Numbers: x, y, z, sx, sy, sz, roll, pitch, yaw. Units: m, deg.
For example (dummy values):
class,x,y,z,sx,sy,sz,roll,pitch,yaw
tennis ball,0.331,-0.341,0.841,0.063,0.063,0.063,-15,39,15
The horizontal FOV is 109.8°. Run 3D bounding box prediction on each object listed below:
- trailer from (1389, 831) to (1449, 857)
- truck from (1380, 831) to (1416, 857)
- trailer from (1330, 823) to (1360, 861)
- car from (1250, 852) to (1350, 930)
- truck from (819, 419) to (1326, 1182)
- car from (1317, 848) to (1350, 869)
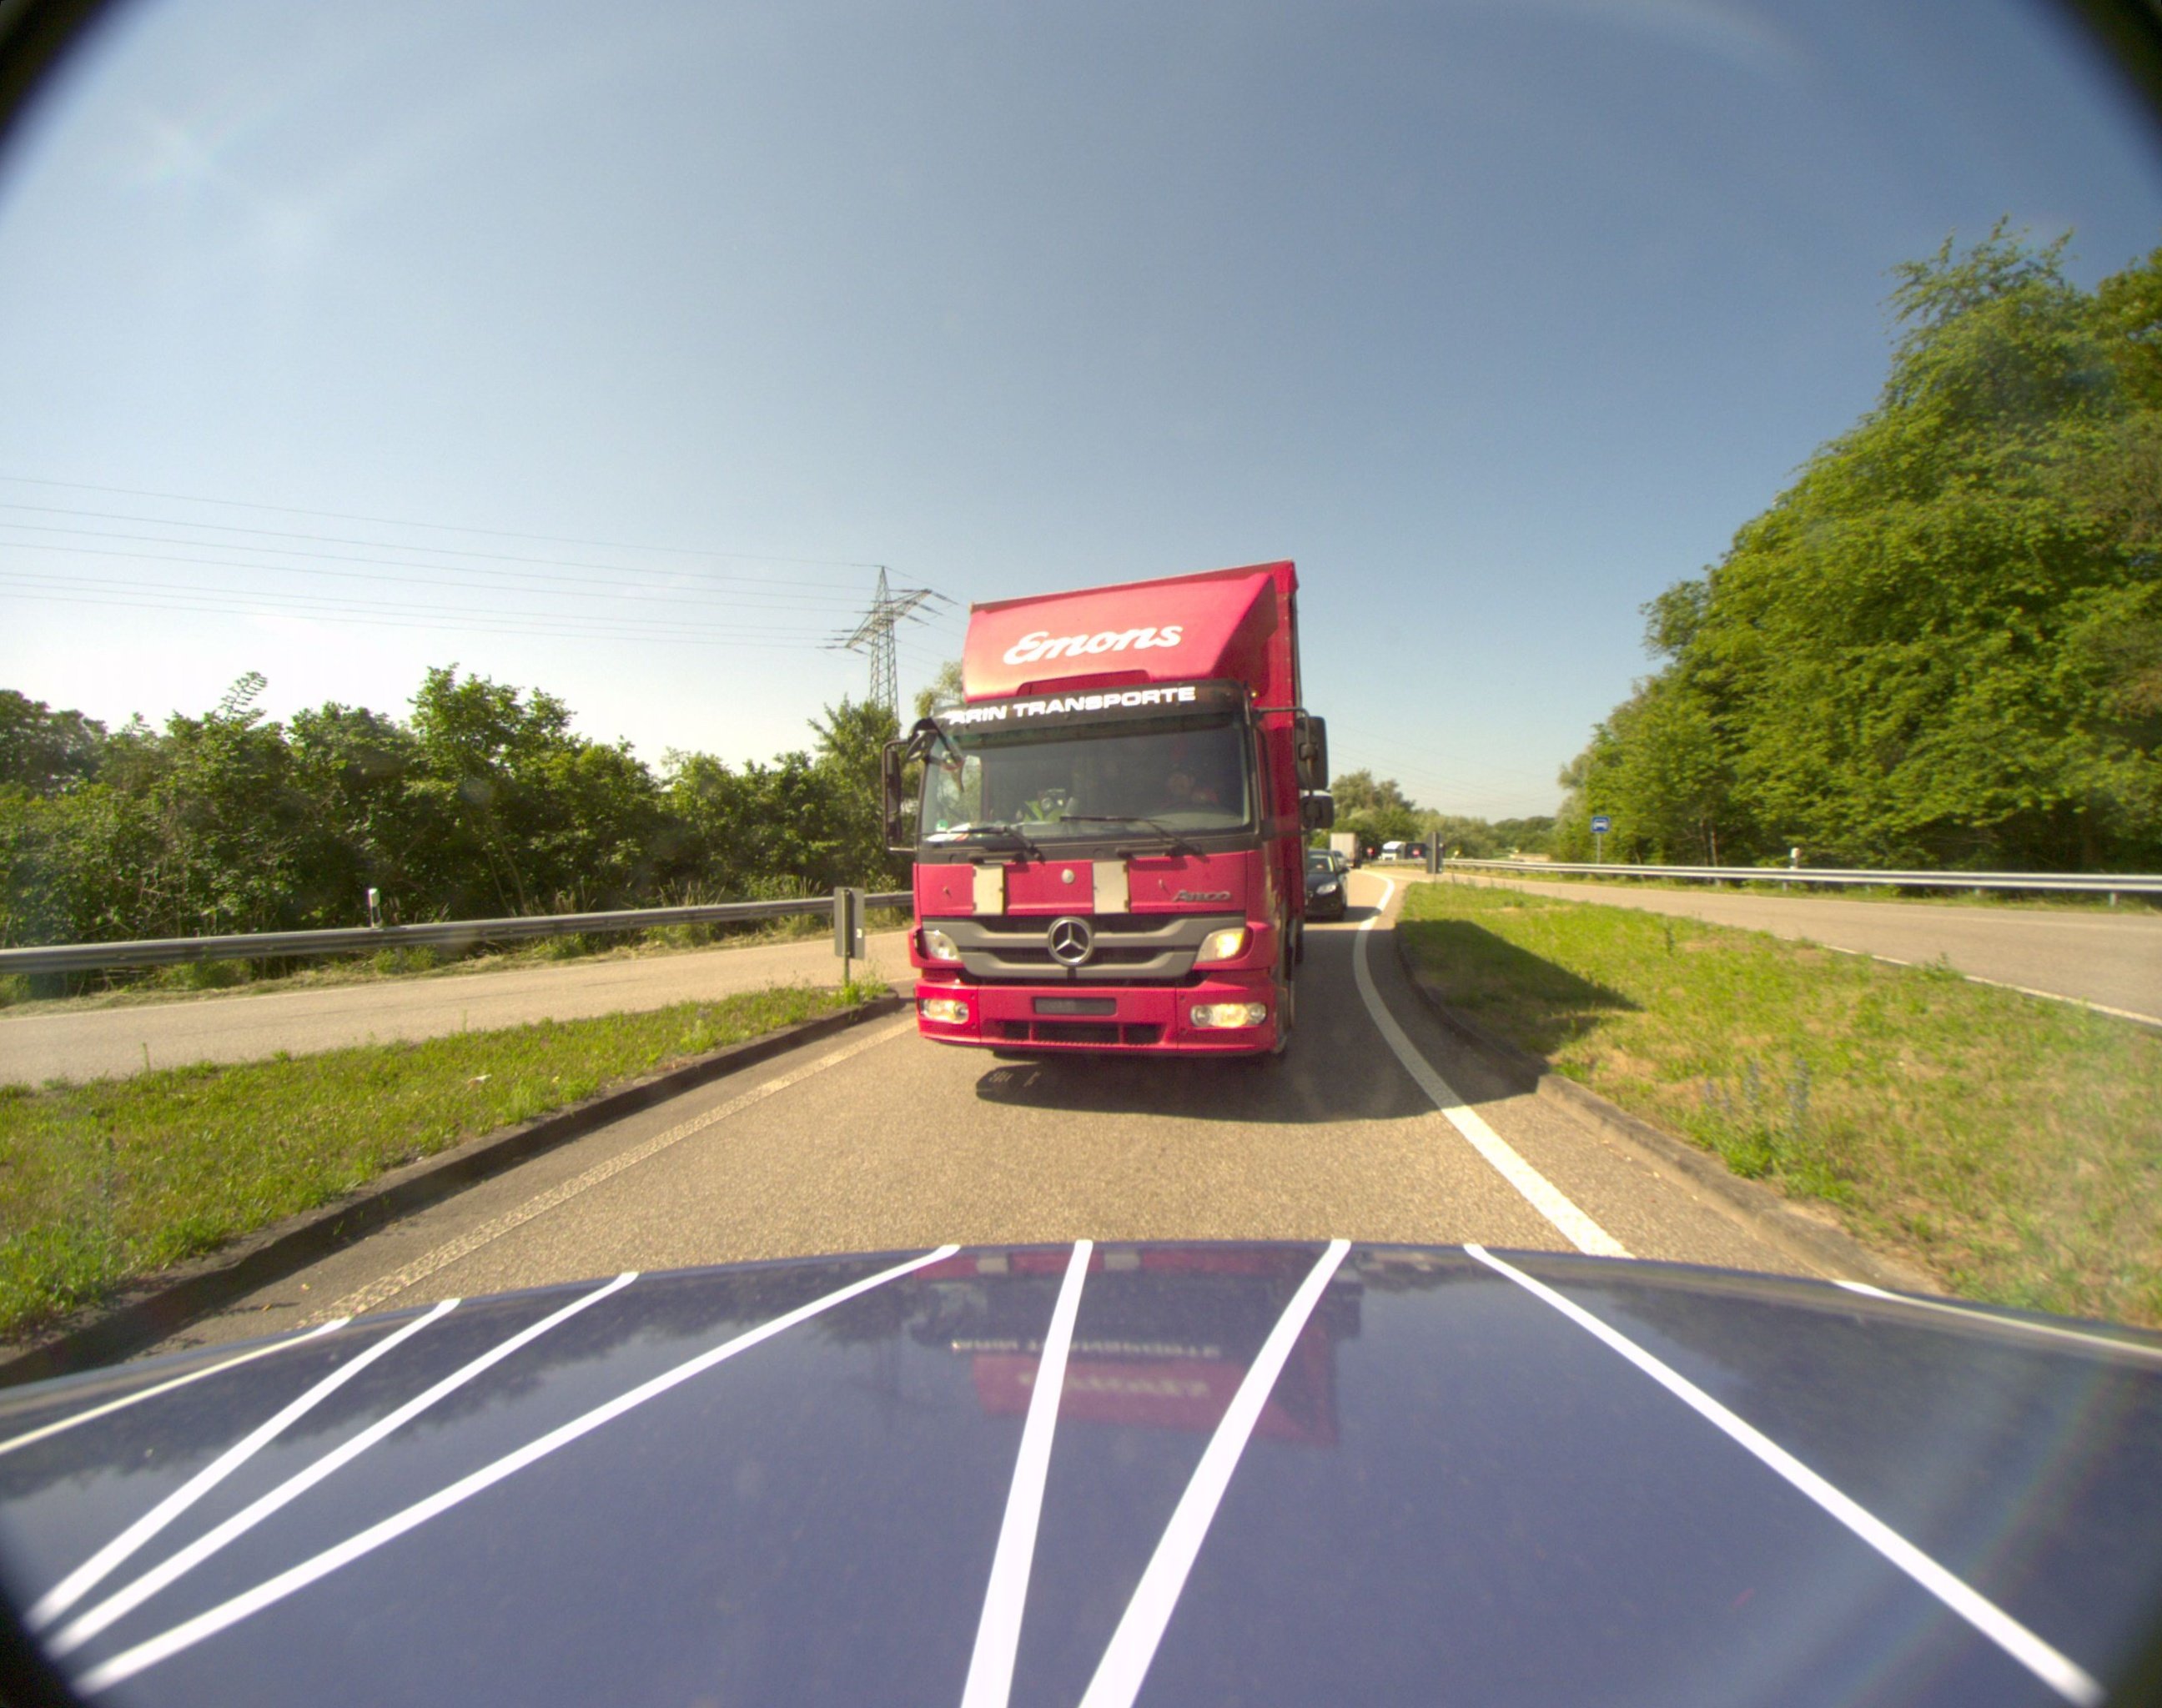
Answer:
class,x,y,z,sx,sy,sz,roll,pitch,yaw
trailer,58.186,-1.730,130.530,14.008,4.216,2.922,0,2,-38
truck,52.723,-1.645,126.307,5.744,4.213,2.932,0,1,-38
trailer,31.436,-1.397,90.173,2.953,4.243,14.001,1,1,20
car,4.826,0.711,16.382,1.785,1.406,4.005,-1,0,20
truck,1.171,-0.272,8.448,2.686,3.640,9.273,-1,0,17
car,17.387,0.290,52.482,1.785,1.377,4.382,-2,0,13
